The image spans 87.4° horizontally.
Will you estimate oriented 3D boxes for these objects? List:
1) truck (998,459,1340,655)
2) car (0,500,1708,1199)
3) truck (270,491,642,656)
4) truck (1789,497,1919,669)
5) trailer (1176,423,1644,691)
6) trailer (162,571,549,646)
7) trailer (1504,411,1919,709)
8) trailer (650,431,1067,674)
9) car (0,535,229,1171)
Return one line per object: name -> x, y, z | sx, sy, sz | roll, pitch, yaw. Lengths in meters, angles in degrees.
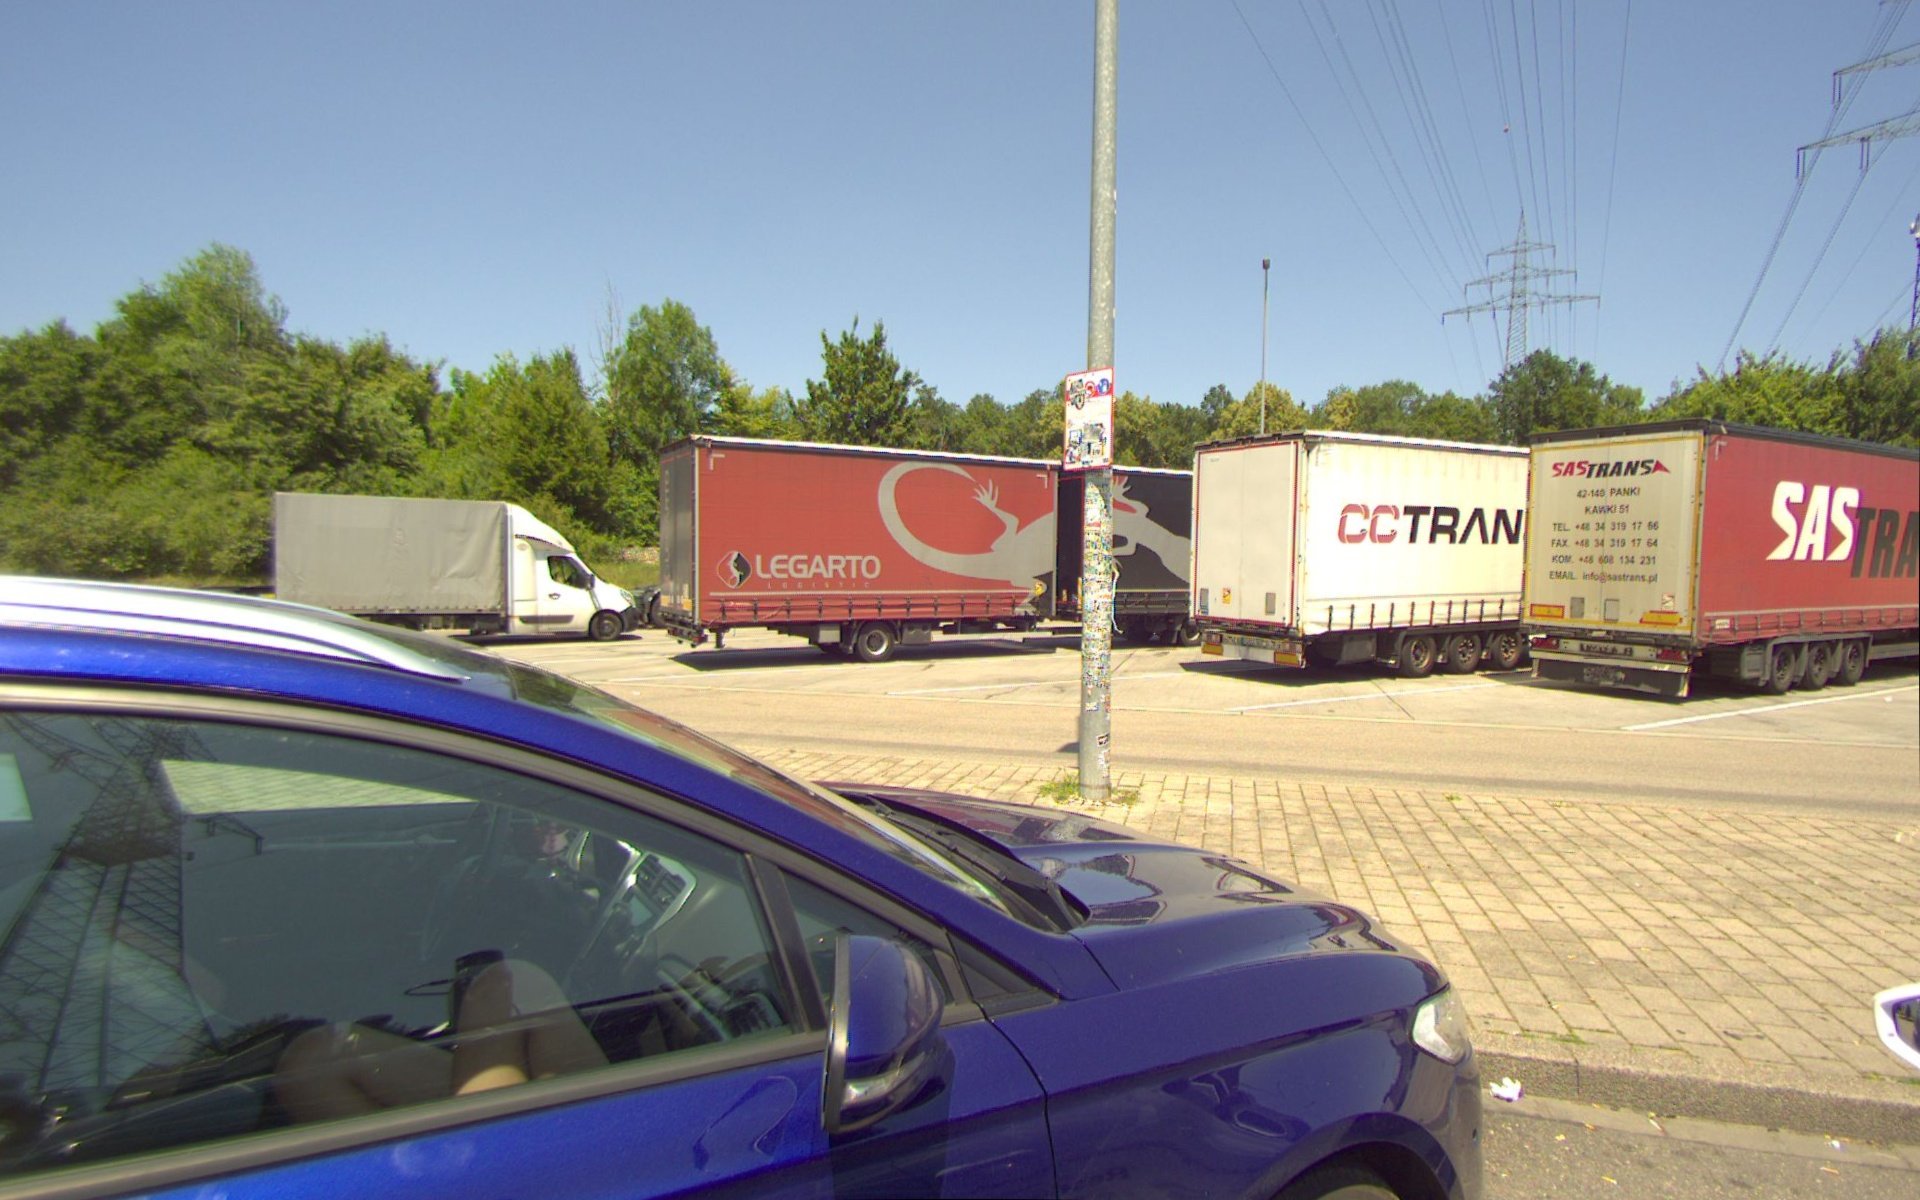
truck -> 5.272, -0.994, 24.538 | 8.586, 4.127, 2.693 | -1, 3, -30
car -> -0.970, 0.655, 1.450 | 4.522, 1.491, 1.743 | 0, 2, -32
truck -> -11.239, -0.615, 22.992 | 7.187, 3.289, 2.694 | -1, 3, -29
truck -> 21.259, -0.401, 22.048 | 5.903, 3.409, 2.798 | -1, 3, -30
trailer -> 8.973, -0.766, 19.344 | 10.264, 4.158, 2.693 | -1, 3, -30
trailer -> -14.750, 0.112, 25.231 | 8.007, 1.648, 2.199 | -1, 3, -30
trailer -> 15.467, -0.674, 18.610 | 13.599, 4.127, 2.807 | -1, 3, -31
trailer -> -1.881, -0.898, 20.329 | 8.007, 4.127, 2.693 | -1, 3, -30
car -> -4.412, 0.583, 2.087 | 4.522, 1.526, 1.743 | 0, 2, -32
